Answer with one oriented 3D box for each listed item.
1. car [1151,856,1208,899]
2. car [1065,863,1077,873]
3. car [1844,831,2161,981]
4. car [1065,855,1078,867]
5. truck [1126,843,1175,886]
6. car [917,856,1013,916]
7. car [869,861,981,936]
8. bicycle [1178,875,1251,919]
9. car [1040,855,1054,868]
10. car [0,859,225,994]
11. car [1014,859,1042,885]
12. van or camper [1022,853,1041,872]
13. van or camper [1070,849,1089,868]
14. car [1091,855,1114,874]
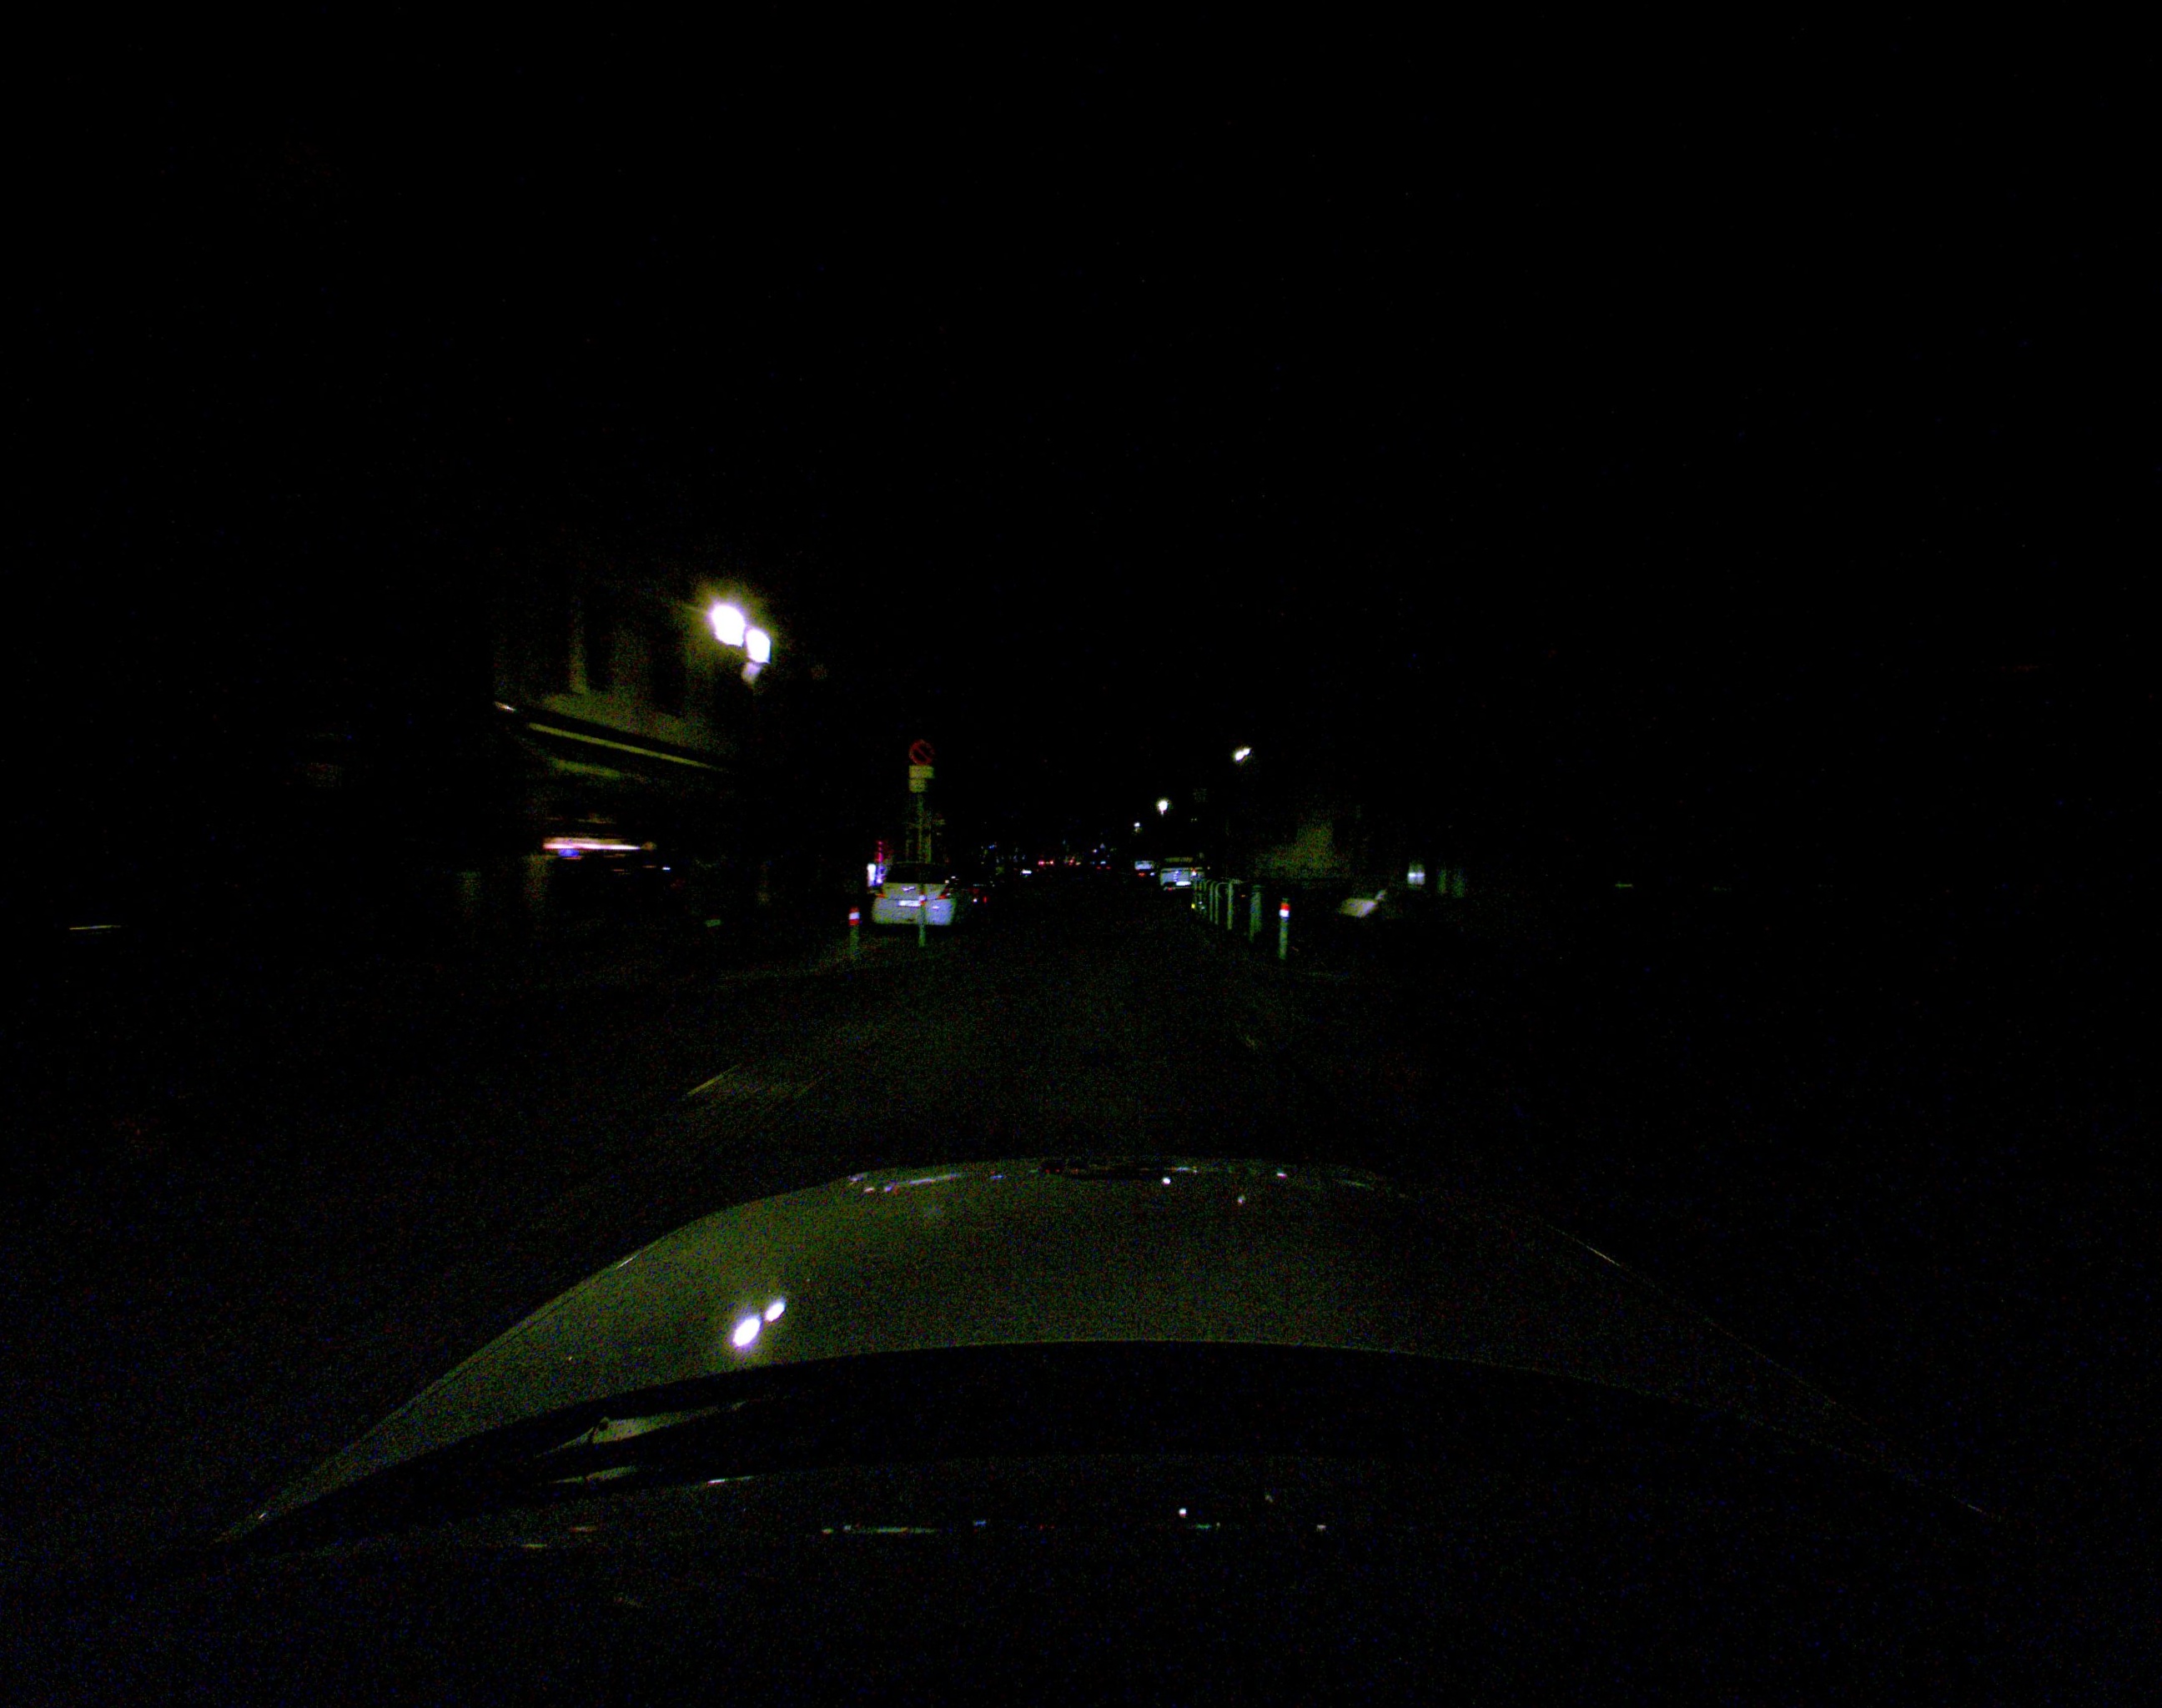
[{"bbox_3d":[3.773,0.877,31.775,1.783,1.491,4.060,-2,-1,2],"label":"car"},{"bbox_3d":[-1.479,2.128,121.579,1.528,1.418,3.839,-1,-1,-4],"label":"car"},{"bbox_3d":[11.347,0.516,9.291,3.601,1.442,1.725,-3,-1,0],"label":"car"},{"bbox_3d":[-1.527,1.091,127.665,1.836,1.901,3.839,-1,-1,-4],"label":"car"},{"bbox_3d":[3.963,0.595,47.172,2.328,2.312,5.780,-1,0,0],"label":"truck"},{"bbox_3d":[-3.221,0.855,23.706,2.013,1.488,5.007,2,-1,0],"label":"car"},{"bbox_3d":[-3.317,0.900,18.050,1.723,1.477,3.846,1,-1,0],"label":"car"},{"bbox_3d":[3.318,1.067,20.227,1.750,1.062,0.346,-1,-1,-2],"label":"bicycle"},{"bbox_3d":[-5.106,1.117,120.712,1.989,1.823,3.994,0,-1,-4],"label":"car"},{"bbox_3d":[-12.698,0.755,9.203,3.975,1.376,1.808,1,-2,-1],"label":"car"},{"bbox_3d":[-3.405,1.111,51.528,1.671,1.543,4.222,0,-1,-5],"label":"car"},{"bbox_3d":[-5.483,0.953,89.420,1.864,2.011,4.253,1,-1,-6],"label":"van or camper"},{"bbox_3d":[-0.220,0.618,108.568,2.106,2.317,4.253,-2,0,-6],"label":"van or camper"},{"bbox_3d":[2.114,1.054,82.694,1.812,1.828,4.339,-1,-1,-5],"label":"car"}]
